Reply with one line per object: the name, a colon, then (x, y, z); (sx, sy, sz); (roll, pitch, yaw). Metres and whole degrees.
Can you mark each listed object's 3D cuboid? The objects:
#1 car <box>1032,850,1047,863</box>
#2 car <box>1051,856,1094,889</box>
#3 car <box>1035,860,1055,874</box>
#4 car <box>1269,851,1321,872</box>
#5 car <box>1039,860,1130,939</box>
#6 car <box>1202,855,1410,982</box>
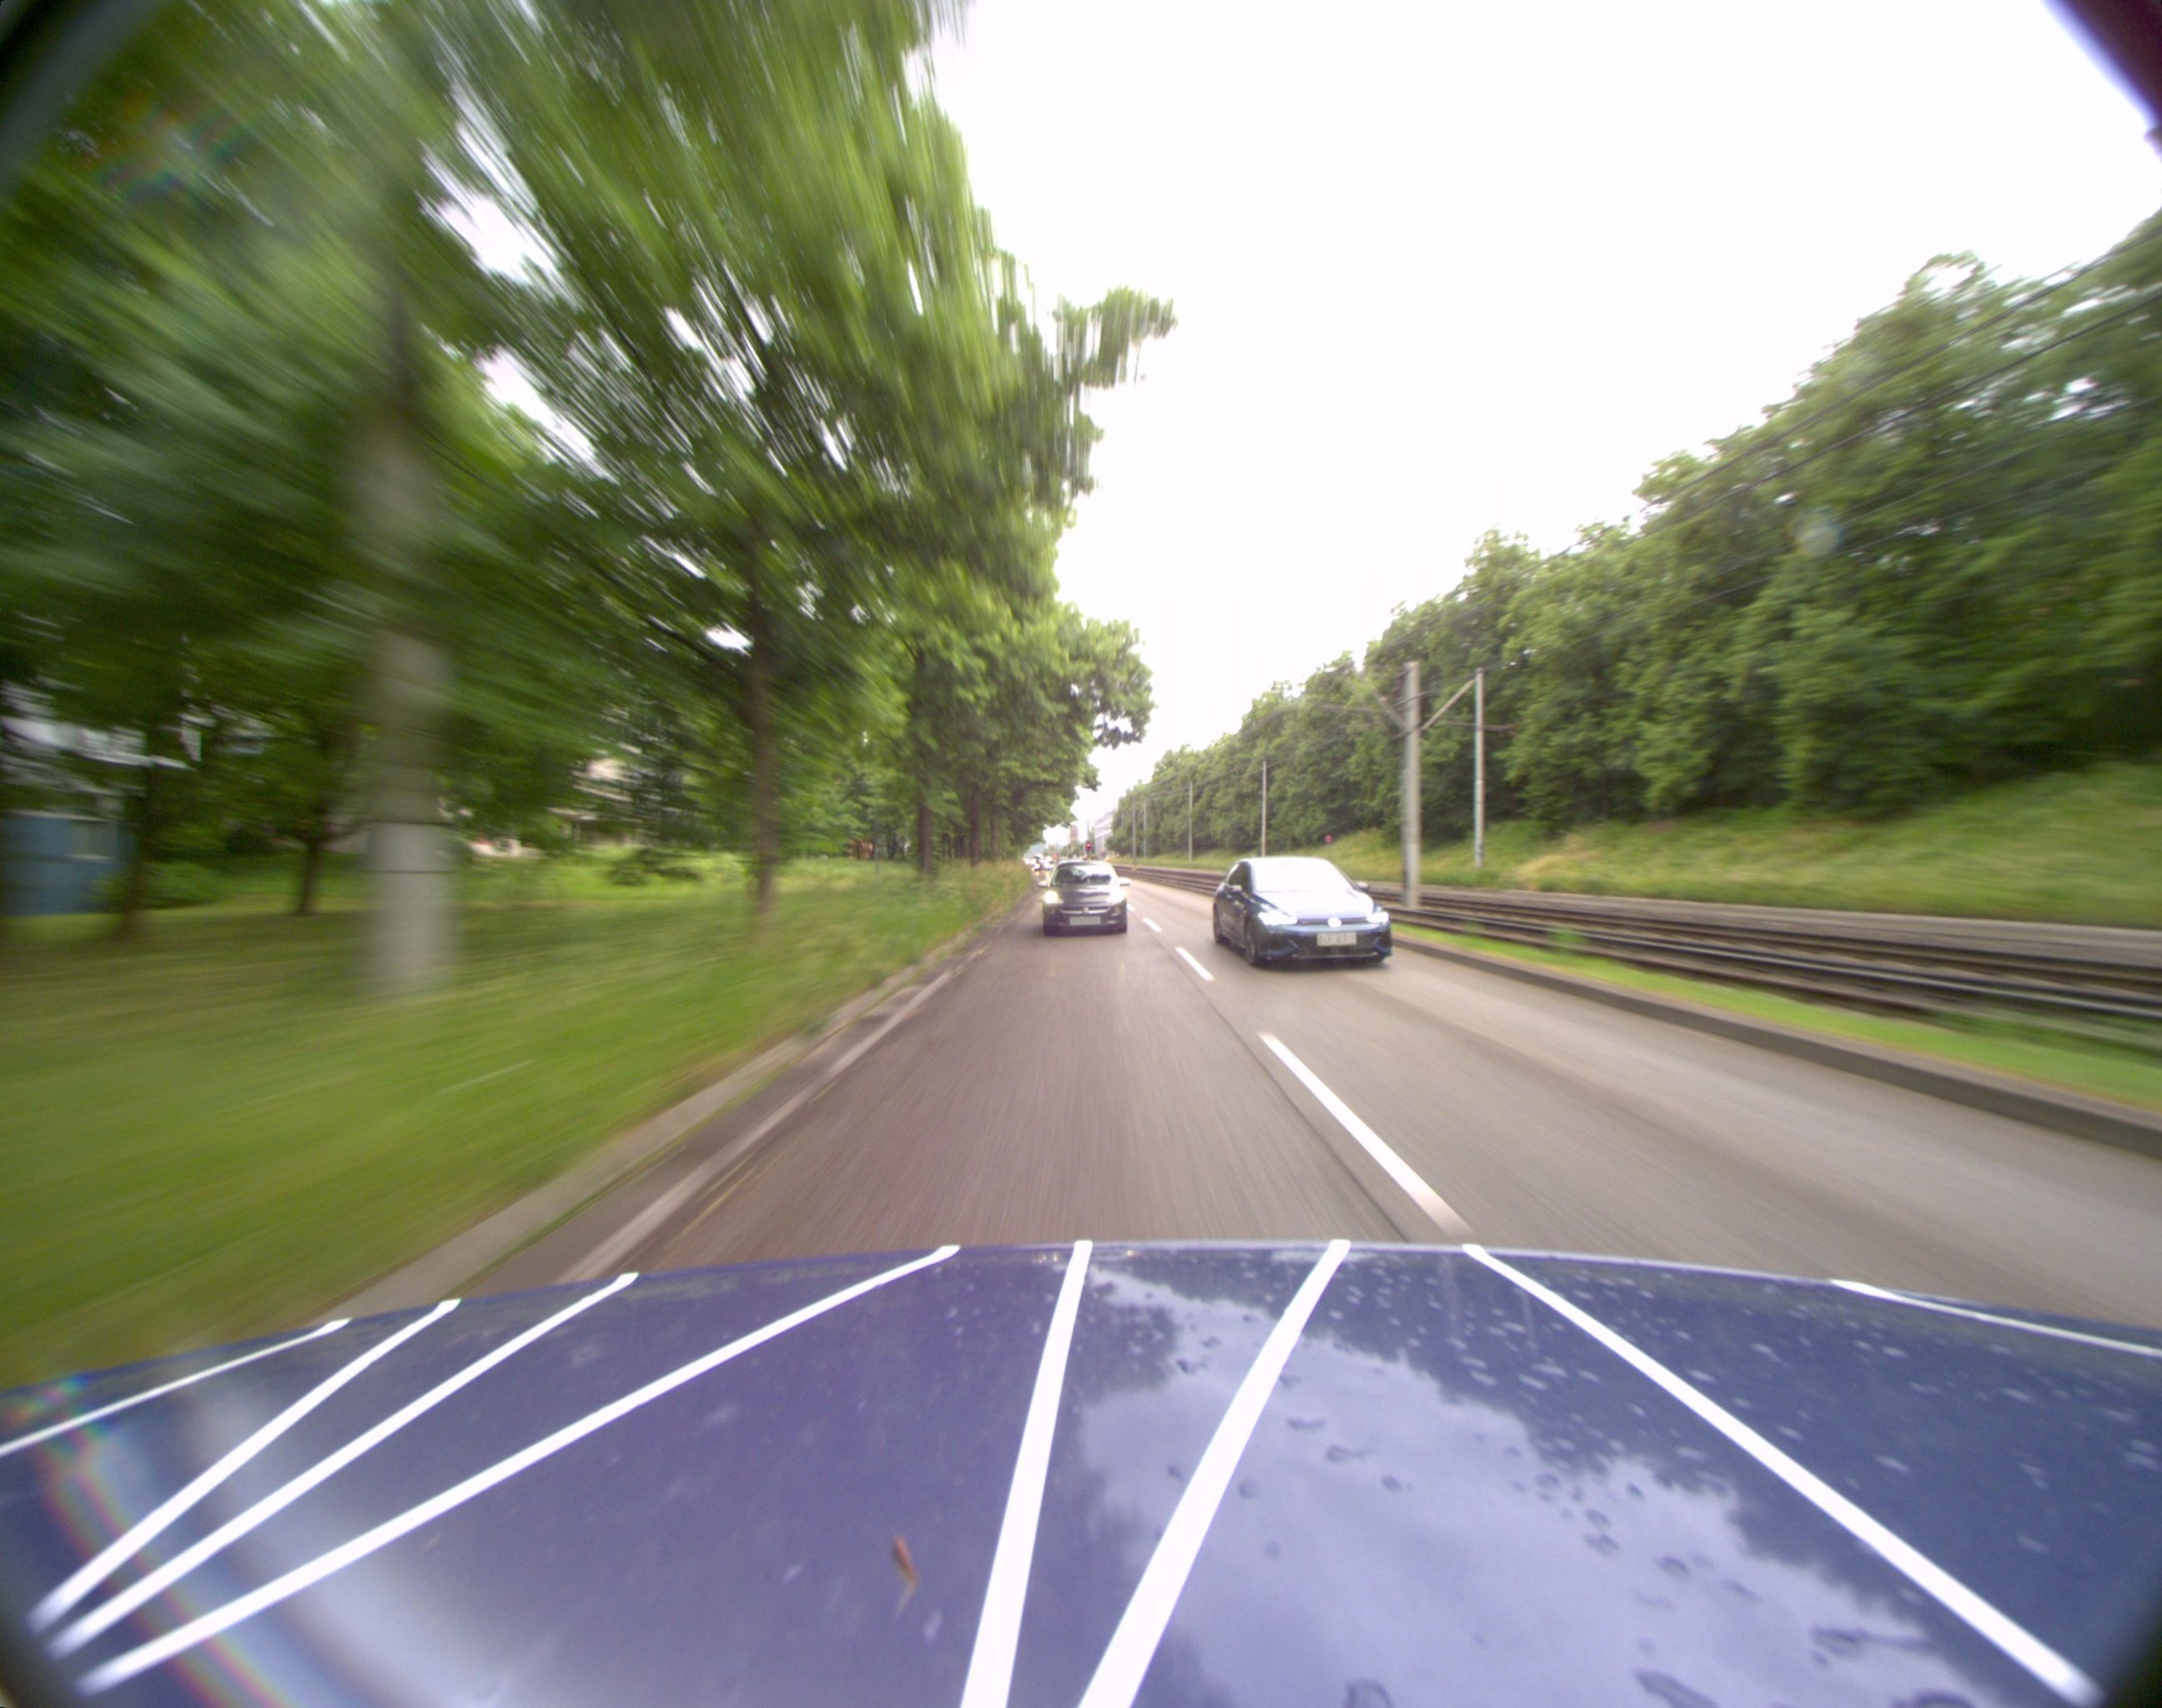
car: (-6.515, 0.404, 117.810); (1.961, 1.914, 4.842); (-3, 0, -7)
car: (-0.430, 0.868, 37.343); (1.960, 1.457, 4.699); (-1, 0, -1)
car: (-4.012, 1.437, 84.662); (1.961, 1.469, 4.697); (-3, 0, -6)
car: (15.226, 0.507, 54.412); (2.000, 1.423, 4.428); (2, 0, -7)
car: (0.083, 0.884, 16.693); (1.711, 1.425, 4.429); (-1, 0, 0)
car: (3.091, 0.793, 11.411); (1.813, 1.371, 4.346); (-2, 1, 0)
